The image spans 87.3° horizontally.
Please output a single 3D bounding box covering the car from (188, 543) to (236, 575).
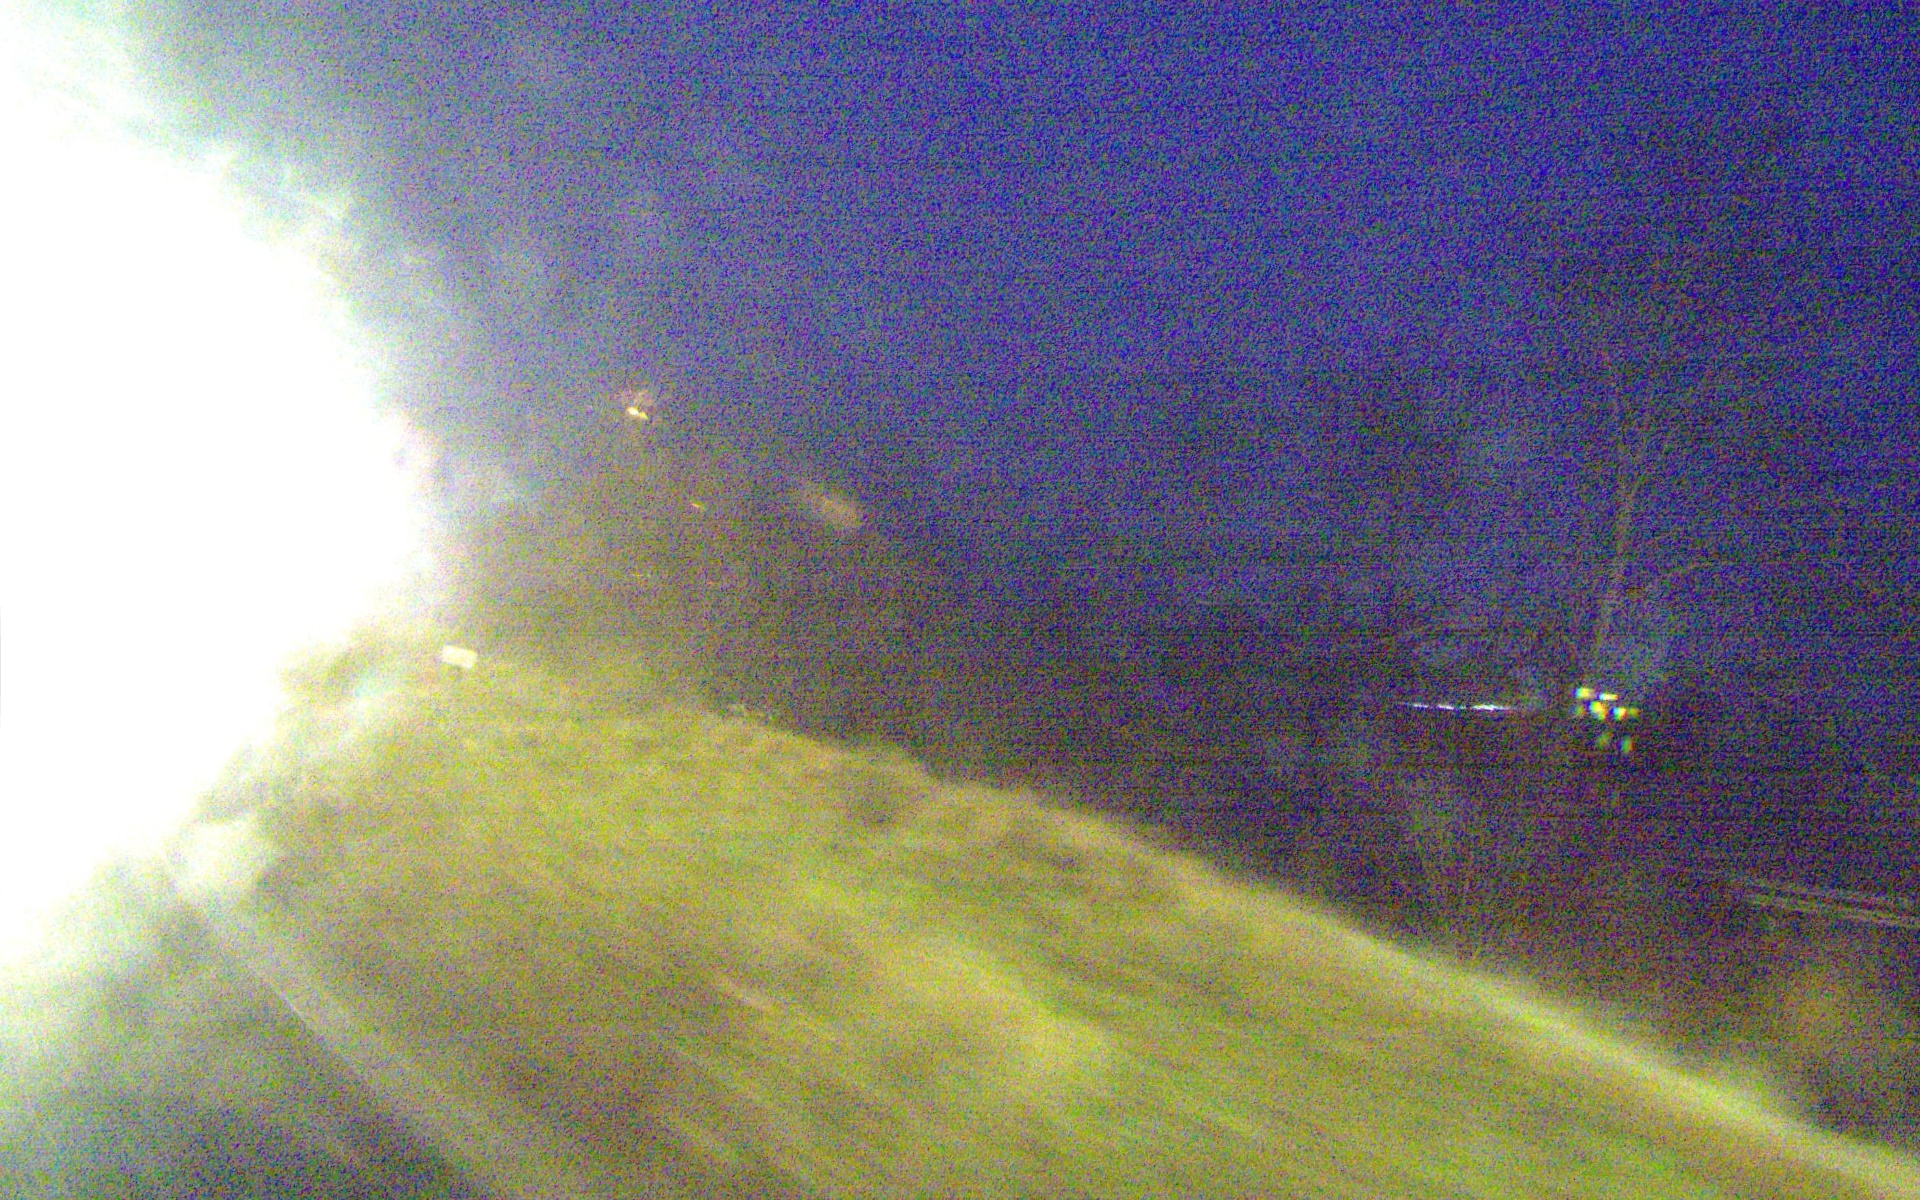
[{"bbox_3d":[-53.254,-2.872,71.724,2.168,1.615,3.971,14,-8,-32],"label":"car"}]

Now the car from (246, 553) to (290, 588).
[{"bbox_3d":[-42.399,-1.776,61.580,1.904,1.615,3.966,14,-8,-35],"label":"car"}]

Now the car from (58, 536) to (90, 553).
[{"bbox_3d":[-79.678,-4.997,90.497,1.634,1.216,3.583,9,-3,-34],"label":"car"}]

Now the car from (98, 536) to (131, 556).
[{"bbox_3d":[-74.648,-4.720,88.857,1.579,1.443,3.324,9,-3,-31],"label":"car"}]

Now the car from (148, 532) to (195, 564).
[{"bbox_3d":[-57.969,-3.789,74.006,2.169,1.615,3.968,14,-8,-34],"label":"car"}]
